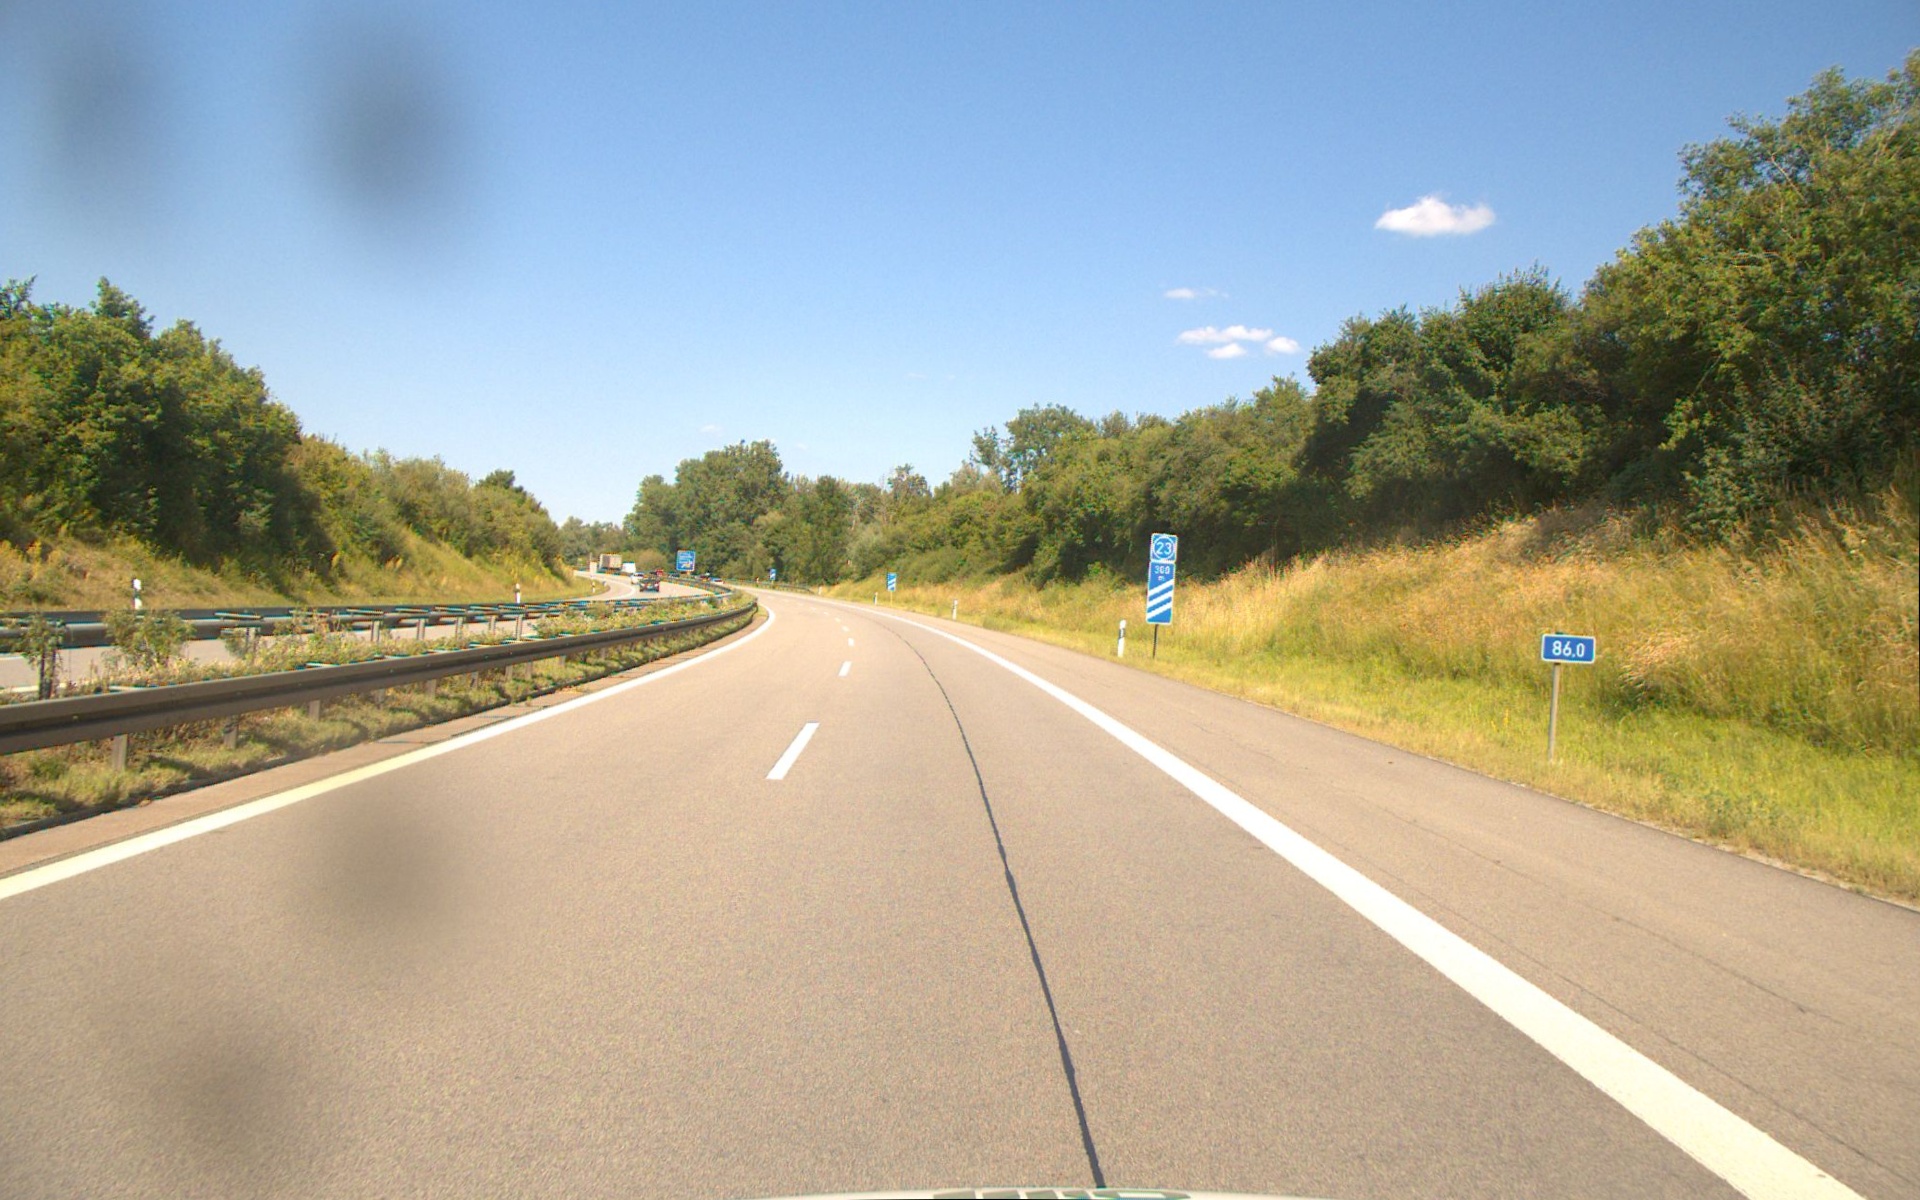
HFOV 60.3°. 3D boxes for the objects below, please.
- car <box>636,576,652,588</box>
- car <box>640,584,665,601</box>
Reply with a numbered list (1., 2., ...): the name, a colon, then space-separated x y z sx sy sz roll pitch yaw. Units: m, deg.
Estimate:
1. car: -40.994 -2.375 214.722 1.864 1.447 4.391 0 1 -8
2. car: -29.587 -0.706 159.089 1.929 1.591 5.168 0 0 -5
